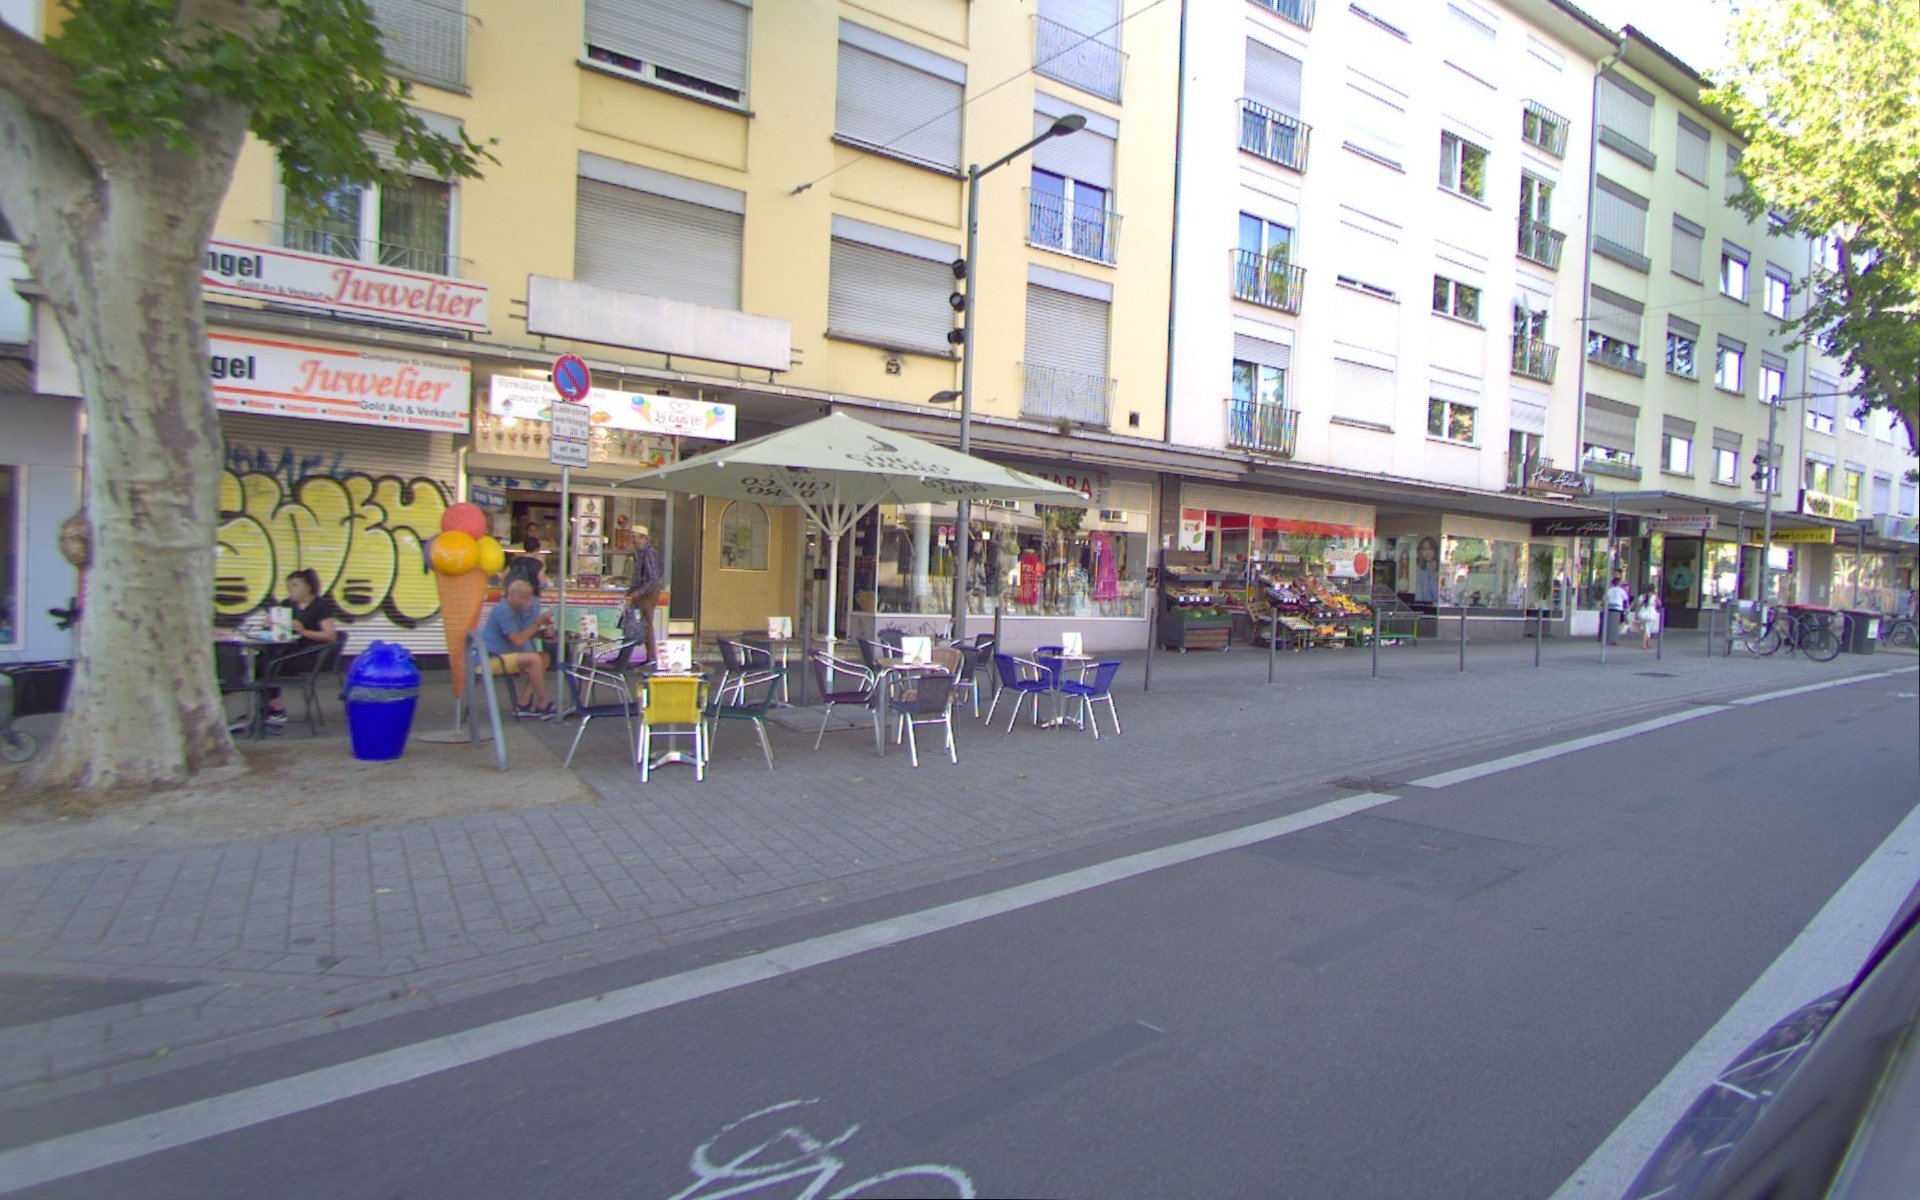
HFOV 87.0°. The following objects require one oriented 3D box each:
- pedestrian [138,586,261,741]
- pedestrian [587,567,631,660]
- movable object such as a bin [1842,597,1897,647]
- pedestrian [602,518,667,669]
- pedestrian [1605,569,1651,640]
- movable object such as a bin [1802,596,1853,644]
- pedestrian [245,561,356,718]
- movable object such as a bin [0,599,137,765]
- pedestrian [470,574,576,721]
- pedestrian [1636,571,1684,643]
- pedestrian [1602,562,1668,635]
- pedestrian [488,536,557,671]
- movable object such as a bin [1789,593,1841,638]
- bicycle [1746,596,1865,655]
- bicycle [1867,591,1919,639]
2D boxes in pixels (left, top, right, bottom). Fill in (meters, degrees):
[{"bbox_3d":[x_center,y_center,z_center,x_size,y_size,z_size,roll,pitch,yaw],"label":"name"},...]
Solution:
[{"bbox_3d":[-5.889,0.456,7.838,0.737,1.129,0.584,0,0,-40],"label":"pedestrian"},{"bbox_3d":[-5.070,0.183,14.613,0.498,1.312,0.427,0,2,-36],"label":"pedestrian"},{"bbox_3d":[21.962,0.511,24.445,0.631,1.115,0.726,0,6,-26],"label":"movable object such as a bin"},{"bbox_3d":[-4.044,-0.091,12.608,0.614,1.826,0.638,1,1,-4],"label":"pedestrian"},{"bbox_3d":[15.730,0.103,23.820,0.615,1.605,0.624,0,4,-34],"label":"pedestrian"},{"bbox_3d":[21.528,0.480,25.114,0.632,1.084,0.725,0,7,-35],"label":"movable object such as a bin"},{"bbox_3d":[-5.713,0.322,8.771,0.745,1.291,0.584,0,0,-40],"label":"pedestrian"},{"bbox_3d":[-6.342,0.519,6.901,0.919,1.036,0.833,0,0,25],"label":"movable object such as a bin"},{"bbox_3d":[-3.930,0.397,9.090,0.732,1.240,0.607,0,1,-40],"label":"pedestrian"},{"bbox_3d":[16.091,0.147,23.274,0.615,1.605,0.638,0,4,-34],"label":"pedestrian"},{"bbox_3d":[17.306,-0.051,25.942,1.111,1.784,0.972,-1,3,-32],"label":"pedestrian"},{"bbox_3d":[-5.277,0.030,12.245,0.624,1.564,0.628,1,5,-9],"label":"pedestrian"},{"bbox_3d":[21.878,0.400,25.906,0.630,1.085,0.726,1,3,-15],"label":"movable object such as a bin"},{"bbox_3d":[18.720,0.535,22.469,0.507,1.118,1.918,1,4,-26],"label":"bicycle"},{"bbox_3d":[24.179,0.385,25.588,0.731,1.130,1.725,-4,4,-32],"label":"bicycle"}]
